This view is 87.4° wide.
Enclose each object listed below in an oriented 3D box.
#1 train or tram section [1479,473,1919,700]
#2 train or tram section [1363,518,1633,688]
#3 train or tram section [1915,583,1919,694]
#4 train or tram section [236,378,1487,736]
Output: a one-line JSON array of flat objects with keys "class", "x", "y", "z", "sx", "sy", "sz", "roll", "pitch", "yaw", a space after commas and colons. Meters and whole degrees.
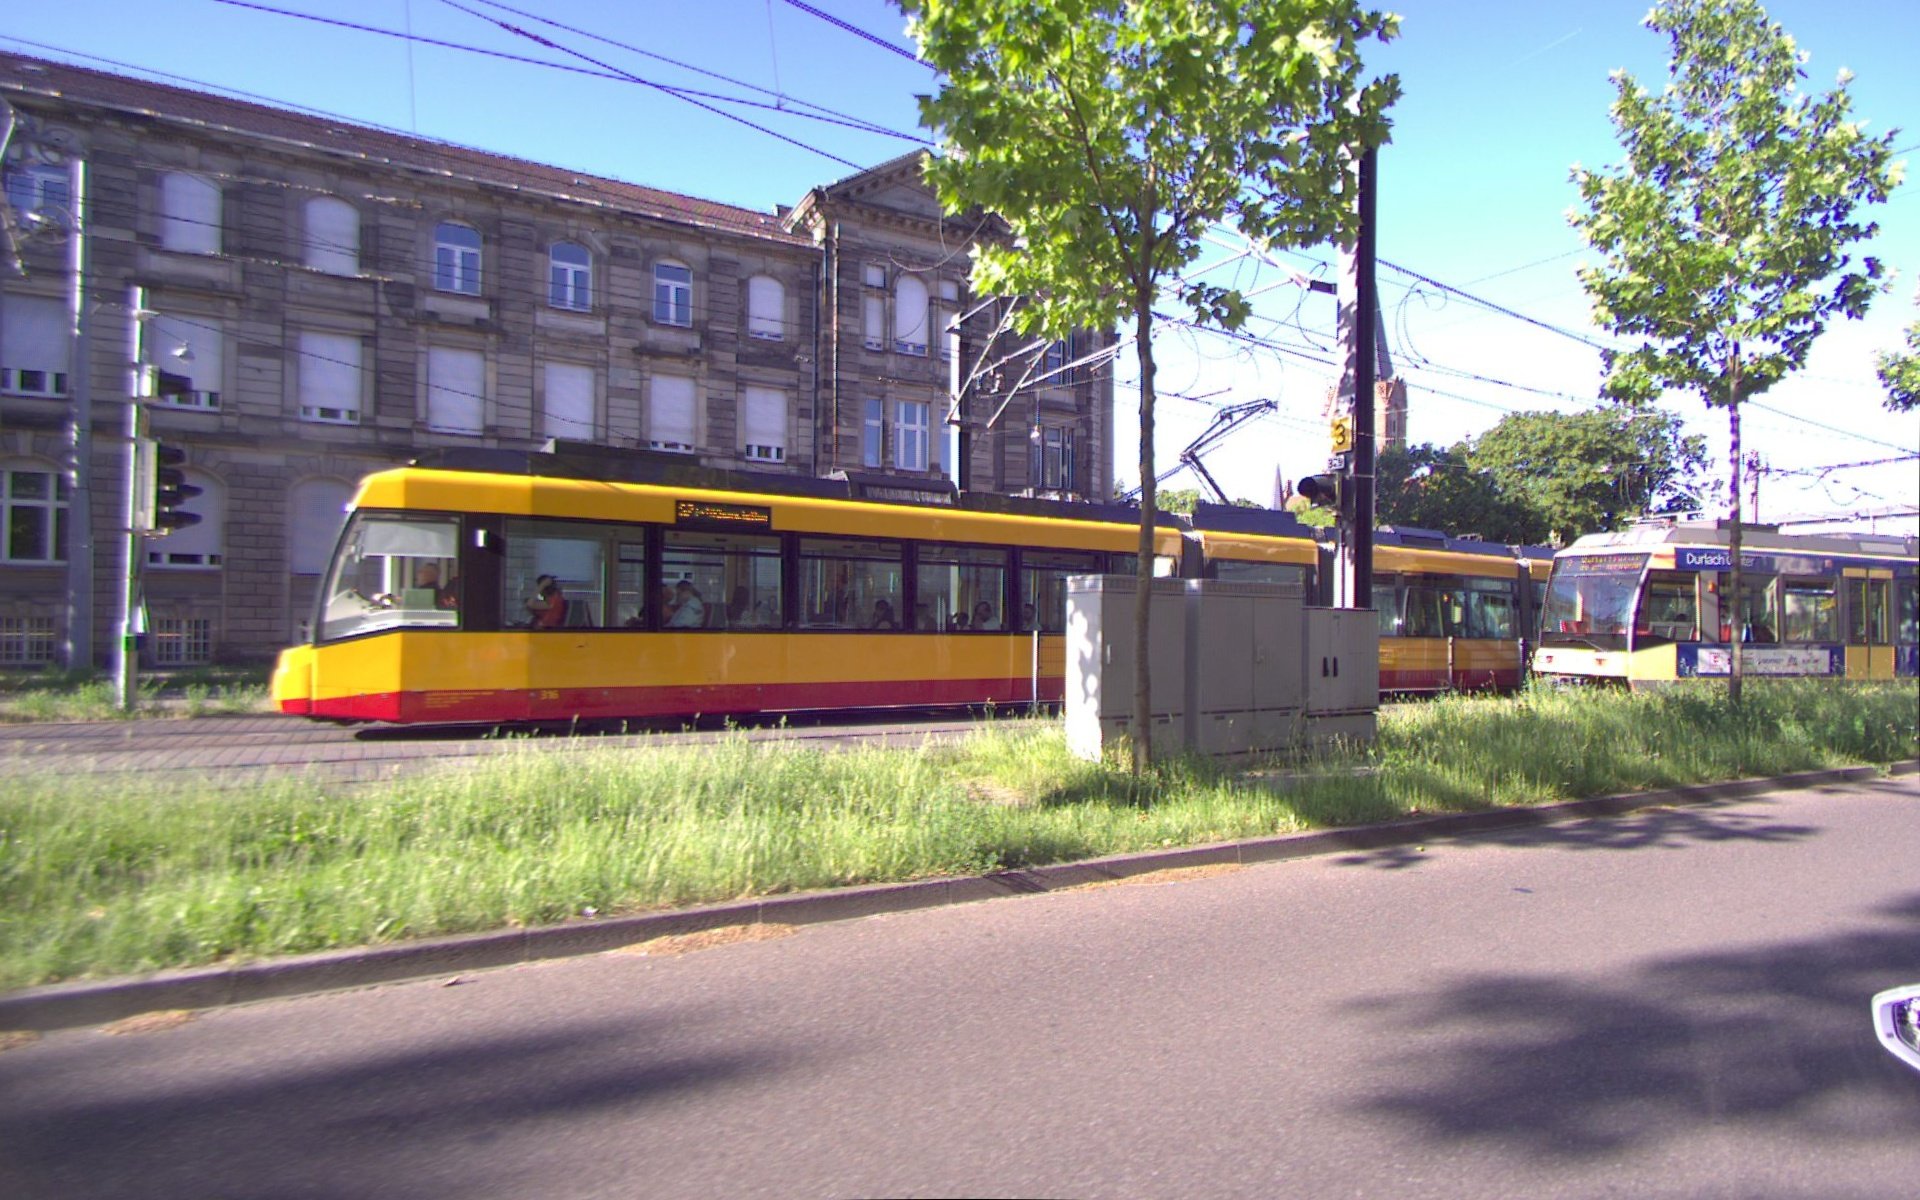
[{"class": "train or tram section", "x": 17.400, "y": -0.009, "z": 20.864, "sx": 14.056, "sy": 3.863, "sz": 2.925, "roll": 2, "pitch": 0, "yaw": -20}, {"class": "train or tram section", "x": 12.700, "y": 0.122, "z": 23.643, "sx": 5.991, "sy": 3.530, "sz": 2.941, "roll": 1, "pitch": 0, "yaw": -31}, {"class": "train or tram section", "x": 25.816, "y": 0.404, "z": 23.951, "sx": 3.808, "sy": 3.949, "sz": 2.950, "roll": 2, "pitch": 0, "yaw": -21}, {"class": "train or tram section", "x": 1.133, "y": -0.194, "z": 16.609, "sx": 20.974, "sy": 3.530, "sz": 2.948, "roll": 2, "pitch": 0, "yaw": -31}]
